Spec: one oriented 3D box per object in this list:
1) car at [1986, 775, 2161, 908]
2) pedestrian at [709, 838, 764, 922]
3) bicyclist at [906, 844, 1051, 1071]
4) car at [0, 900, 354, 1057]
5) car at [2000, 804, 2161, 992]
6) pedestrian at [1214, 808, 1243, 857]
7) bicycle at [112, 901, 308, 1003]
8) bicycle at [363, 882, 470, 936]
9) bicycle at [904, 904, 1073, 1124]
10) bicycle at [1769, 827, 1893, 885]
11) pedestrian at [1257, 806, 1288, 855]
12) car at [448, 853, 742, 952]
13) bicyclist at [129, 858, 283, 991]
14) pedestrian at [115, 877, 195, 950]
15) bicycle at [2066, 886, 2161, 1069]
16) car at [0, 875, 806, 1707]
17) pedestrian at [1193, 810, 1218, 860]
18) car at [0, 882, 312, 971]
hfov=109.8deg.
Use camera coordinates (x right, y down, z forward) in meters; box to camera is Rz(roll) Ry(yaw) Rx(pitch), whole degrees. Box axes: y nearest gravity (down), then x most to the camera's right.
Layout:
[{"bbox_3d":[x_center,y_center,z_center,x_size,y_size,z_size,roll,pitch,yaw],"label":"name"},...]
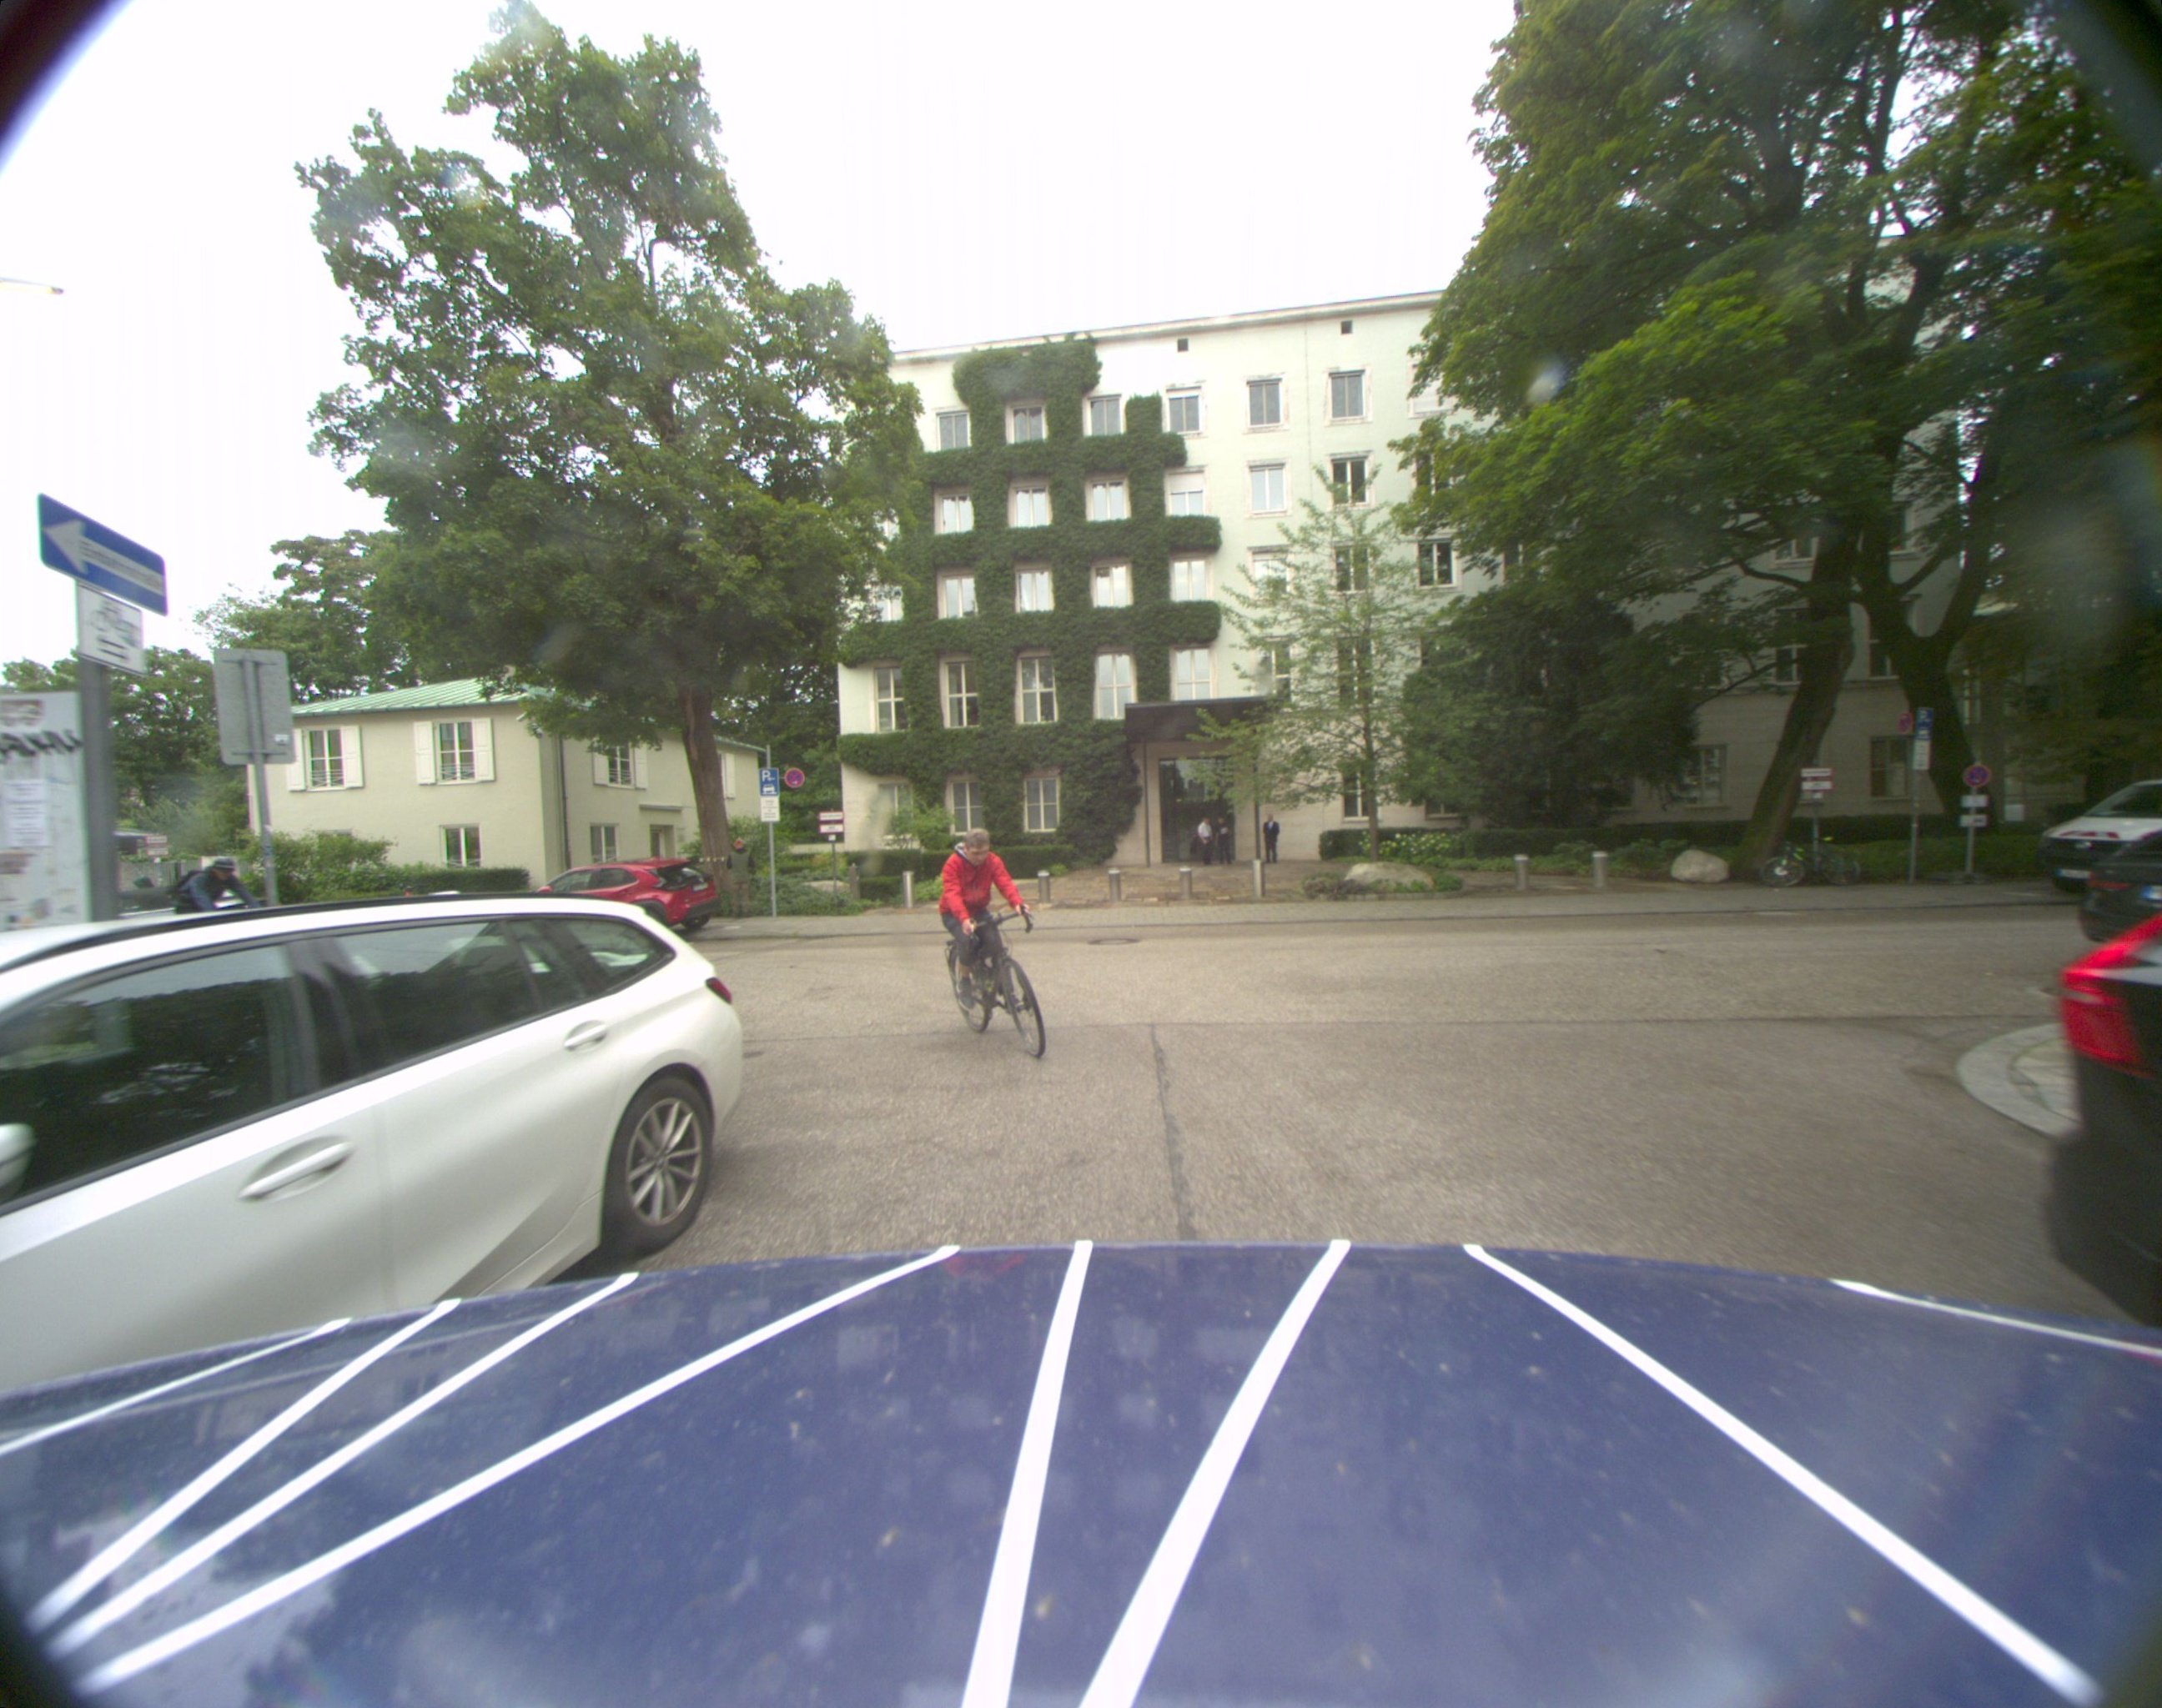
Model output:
[{"bbox_3d":[18.551,-0.338,12.057,5.448,1.946,2.254,-2,3,3],"label":"car"},{"bbox_3d":[-7.908,0.584,17.478,0.796,1.842,0.714,-2,3,4],"label":"pedestrian"},{"bbox_3d":[-0.784,0.688,5.653,0.758,1.475,0.979,-4,3,-24],"label":"bicyclist"},{"bbox_3d":[-10.912,1.268,8.045,4.591,1.311,2.007,-2,-1,3],"label":"car"},{"bbox_3d":[11.077,0.286,5.967,4.580,1.537,2.281,-2,0,8],"label":"car"},{"bbox_3d":[5.334,-0.774,27.470,0.900,1.743,0.752,-1,2,1],"label":"pedestrian"},{"bbox_3d":[-11.907,1.329,10.429,1.799,1.200,0.720,-3,3,3],"label":"bicycle"},{"bbox_3d":[-15.324,1.267,17.537,2.044,1.124,0.652,-2,1,10],"label":"bicycle"},{"bbox_3d":[-0.779,1.050,5.702,0.675,1.135,2.006,-3,3,-23],"label":"bicycle"},{"bbox_3d":[15.177,0.030,15.413,1.765,1.097,0.635,-2,3,7],"label":"bicycle"},{"bbox_3d":[6.896,-0.838,27.383,0.900,1.743,0.752,-1,2,1],"label":"pedestrian"},{"bbox_3d":[-9.412,0.910,14.989,4.523,1.582,1.893,-2,3,3],"label":"car"},{"bbox_3d":[-11.942,0.939,10.406,1.033,1.658,0.780,-3,3,3],"label":"bicyclist"},{"bbox_3d":[-20.883,1.322,17.150,0.752,1.540,0.715,-2,4,0],"label":"pedestrian"},{"bbox_3d":[7.495,0.703,4.759,2.202,1.022,0.655,-4,1,-10],"label":"bicycle"},{"bbox_3d":[-2.660,0.994,1.720,1.911,1.523,4.922,-5,1,3],"label":"car"},{"bbox_3d":[4.482,-0.695,27.400,0.752,1.743,0.901,-2,2,3],"label":"pedestrian"},{"bbox_3d":[-19.113,1.437,15.484,4.920,1.394,1.812,-2,3,0],"label":"car"}]
